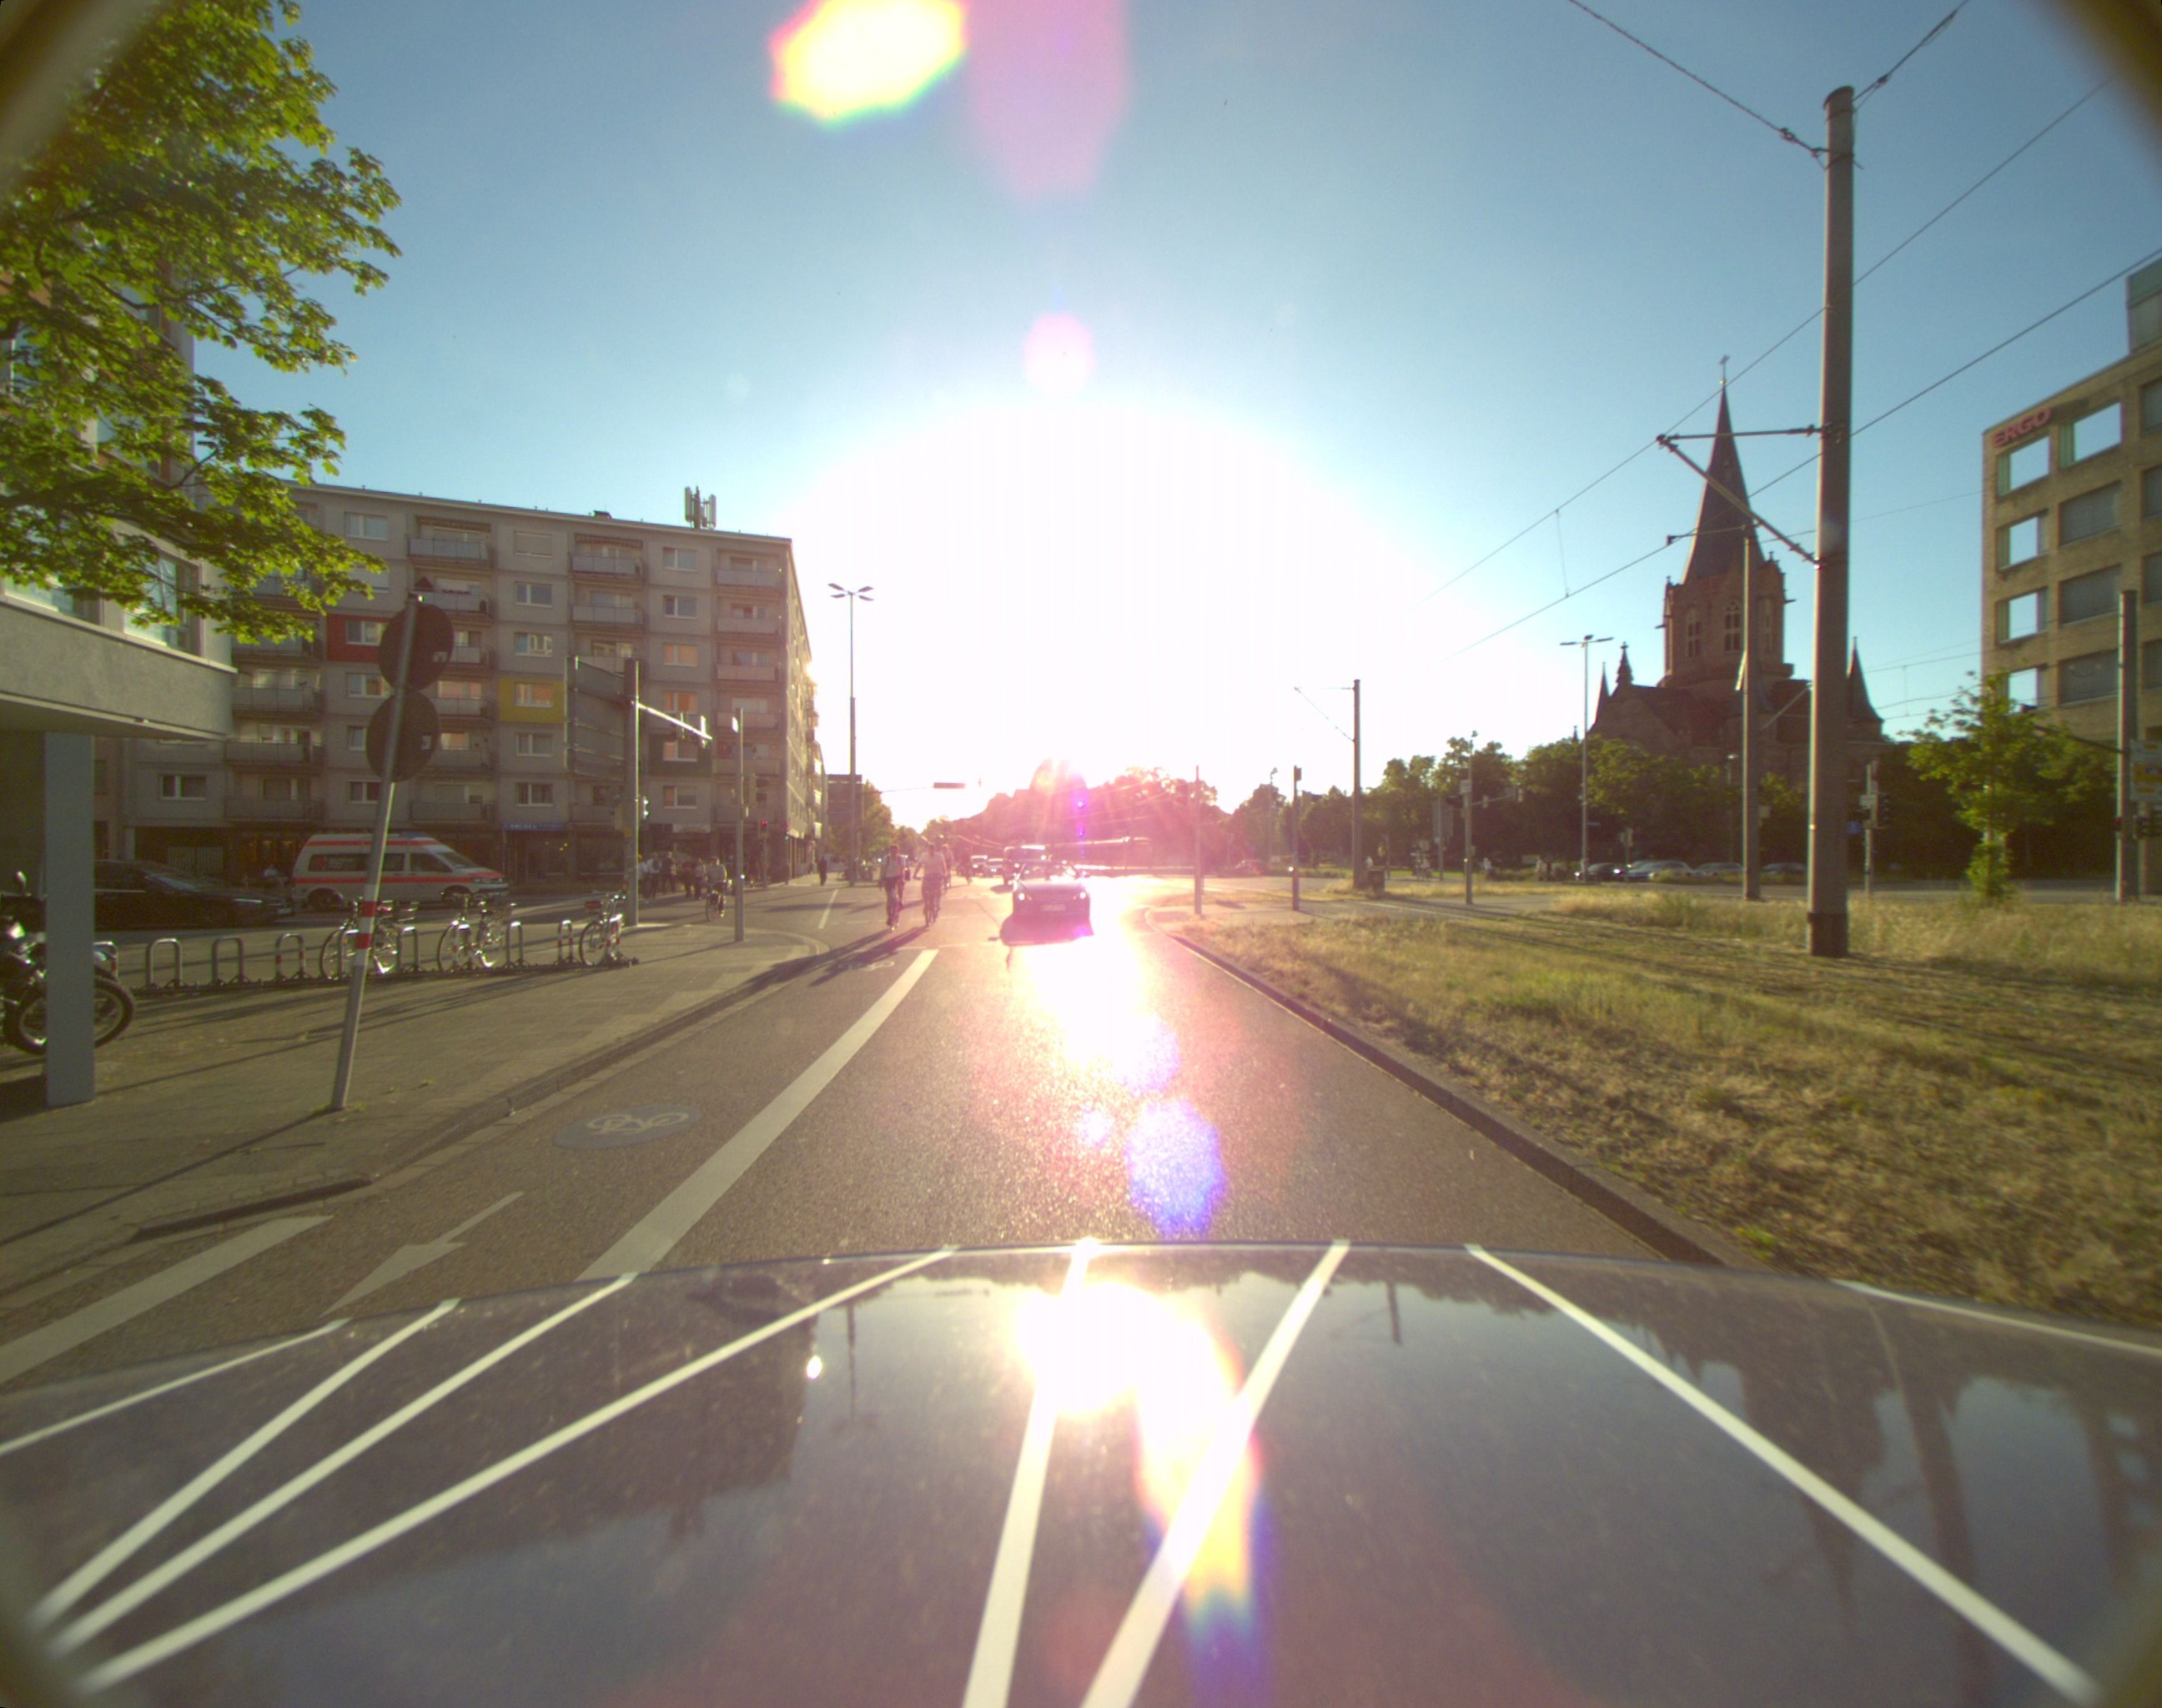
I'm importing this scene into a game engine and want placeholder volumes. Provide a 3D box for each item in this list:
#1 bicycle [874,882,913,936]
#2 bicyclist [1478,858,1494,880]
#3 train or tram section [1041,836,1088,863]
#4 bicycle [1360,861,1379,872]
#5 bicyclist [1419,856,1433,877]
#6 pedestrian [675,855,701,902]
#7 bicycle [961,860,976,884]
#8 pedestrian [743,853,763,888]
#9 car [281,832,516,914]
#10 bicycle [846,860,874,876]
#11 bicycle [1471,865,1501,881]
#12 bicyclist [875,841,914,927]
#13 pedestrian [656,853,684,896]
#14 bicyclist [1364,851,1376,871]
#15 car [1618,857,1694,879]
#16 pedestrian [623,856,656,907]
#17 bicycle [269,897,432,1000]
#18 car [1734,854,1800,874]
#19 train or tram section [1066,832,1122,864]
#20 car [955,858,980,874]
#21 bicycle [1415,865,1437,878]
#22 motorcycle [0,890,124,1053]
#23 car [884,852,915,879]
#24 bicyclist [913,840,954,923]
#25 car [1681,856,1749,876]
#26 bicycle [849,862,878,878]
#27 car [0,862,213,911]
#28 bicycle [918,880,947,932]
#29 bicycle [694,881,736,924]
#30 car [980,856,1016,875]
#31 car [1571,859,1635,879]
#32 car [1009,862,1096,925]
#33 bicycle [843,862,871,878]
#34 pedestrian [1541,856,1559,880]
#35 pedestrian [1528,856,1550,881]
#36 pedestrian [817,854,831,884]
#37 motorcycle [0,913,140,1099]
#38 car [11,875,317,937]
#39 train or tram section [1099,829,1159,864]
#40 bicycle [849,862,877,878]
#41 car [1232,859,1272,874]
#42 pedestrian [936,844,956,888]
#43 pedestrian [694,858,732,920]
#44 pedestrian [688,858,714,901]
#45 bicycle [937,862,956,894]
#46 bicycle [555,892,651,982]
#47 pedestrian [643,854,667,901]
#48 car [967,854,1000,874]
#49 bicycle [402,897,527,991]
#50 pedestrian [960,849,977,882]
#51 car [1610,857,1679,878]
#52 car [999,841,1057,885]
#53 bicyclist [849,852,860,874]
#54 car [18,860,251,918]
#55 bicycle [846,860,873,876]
[{"bbox_3d":[-4.018,1.157,16.384,0.577,1.022,1.855,-2,0,-7],"label":"bicycle"},{"bbox_3d":[29.403,1.081,55.186,0.522,1.574,0.819,-2,1,-30],"label":"bicyclist"},{"bbox_3d":[-2.452,-0.588,104.641,2.784,3.515,13.231,-1,0,-18],"label":"train or tram section"},{"bbox_3d":[26.670,1.150,70.167,0.526,1.020,1.927,-2,0,-17],"label":"bicycle"},{"bbox_3d":[28.006,1.010,61.643,0.575,1.671,0.893,-2,1,-18],"label":"bicyclist"},{"bbox_3d":[-14.124,0.862,27.316,0.684,1.652,0.745,-1,0,-16],"label":"pedestrian"},{"bbox_3d":[-5.692,0.884,38.411,0.530,1.152,1.847,-2,1,-14],"label":"bicycle"},{"bbox_3d":[-15.243,0.752,35.318,0.684,1.580,0.746,-1,0,-12],"label":"pedestrian"},{"bbox_3d":[-21.775,0.554,24.535,5.270,2.468,1.923,-1,0,-17],"label":"car"},{"bbox_3d":[-15.982,1.035,55.068,1.876,1.119,0.567,2,-1,-21],"label":"bicycle"},{"bbox_3d":[29.409,1.373,55.198,0.460,1.139,1.915,-2,0,-30],"label":"bicycle"},{"bbox_3d":[-4.007,0.620,16.361,0.676,1.797,0.993,-1,0,-7],"label":"bicyclist"},{"bbox_3d":[-16.737,0.819,30.941,0.786,1.691,1.026,-1,0,-16],"label":"pedestrian"},{"bbox_3d":[26.667,0.666,70.153,0.575,1.816,0.893,-2,1,-18],"label":"bicyclist"},{"bbox_3d":[38.077,0.915,50.336,4.002,1.412,1.900,0,0,-14],"label":"car"},{"bbox_3d":[-14.599,0.905,25.131,0.730,1.652,0.904,-1,0,-16],"label":"pedestrian"},{"bbox_3d":[-9.752,1.203,10.271,0.647,1.151,2.121,0,-1,-15],"label":"bicycle"},{"bbox_3d":[51.615,0.735,57.150,4.003,1.412,1.900,0,0,-17],"label":"car"},{"bbox_3d":[1.386,-0.674,92.576,2.784,3.515,13.231,-1,0,-18],"label":"train or tram section"},{"bbox_3d":[-11.323,1.165,75.622,1.818,1.393,3.913,-3,1,-17],"label":"car"},{"bbox_3d":[27.998,1.401,61.675,0.460,1.020,1.927,-2,0,-17],"label":"bicycle"},{"bbox_3d":[-10.389,1.064,6.939,2.050,1.398,0.760,-1,0,-9],"label":"motorcycle"},{"bbox_3d":[-13.556,0.852,56.584,1.944,1.922,4.825,0,0,-17],"label":"car"},{"bbox_3d":[-3.305,0.598,17.103,0.829,1.797,1.057,-1,0,-7],"label":"bicyclist"},{"bbox_3d":[46.273,0.889,55.465,4.003,1.412,1.900,0,0,-17],"label":"car"},{"bbox_3d":[-15.239,1.130,53.239,1.875,1.055,0.606,0,0,-19],"label":"bicycle"},{"bbox_3d":[-31.260,1.011,24.482,4.002,1.455,1.785,0,0,-16],"label":"car"},{"bbox_3d":[-3.338,1.136,17.151,0.480,1.022,1.980,-2,0,-7],"label":"bicycle"},{"bbox_3d":[-9.657,1.269,20.118,0.522,0.975,1.847,0,2,-10],"label":"bicycle"},{"bbox_3d":[-6.784,0.942,61.806,1.845,1.393,4.576,-3,1,-20],"label":"car"},{"bbox_3d":[39.140,1.096,56.981,4.003,1.412,1.900,0,0,-17],"label":"car"},{"bbox_3d":[-0.813,0.875,18.603,1.777,1.300,4.238,-1,0,-7],"label":"car"},{"bbox_3d":[-15.997,1.132,54.272,1.876,1.119,0.606,2,-1,-21],"label":"bicycle"},{"bbox_3d":[32.547,0.963,52.747,0.738,1.663,0.717,0,0,-14],"label":"pedestrian"},{"bbox_3d":[31.727,0.987,52.672,0.738,1.663,1.104,0,0,-14],"label":"pedestrian"},{"bbox_3d":[-14.583,0.836,43.126,0.664,1.694,1.070,-1,0,-12],"label":"pedestrian"},{"bbox_3d":[-7.896,1.105,5.120,0.668,1.235,2.199,-1,0,-10],"label":"motorcycle"},{"bbox_3d":[-22.782,1.243,19.124,4.679,1.333,1.837,-1,0,-15],"label":"car"},{"bbox_3d":[4.963,-0.718,81.238,2.784,3.515,10.554,-1,0,-18],"label":"train or tram section"},{"bbox_3d":[-15.448,1.133,53.813,1.875,1.055,0.606,0,0,-19],"label":"bicycle"},{"bbox_3d":[15.872,1.151,70.520,1.732,1.406,3.879,0,0,-22],"label":"car"},{"bbox_3d":[-5.179,0.452,29.238,0.640,1.639,0.842,-2,1,-6],"label":"pedestrian"},{"bbox_3d":[-9.672,0.908,19.988,0.677,1.581,0.760,0,2,-10],"label":"pedestrian"},{"bbox_3d":[-13.342,0.882,26.709,0.684,1.491,0.745,-1,0,-16],"label":"pedestrian"},{"bbox_3d":[-5.180,0.894,29.354,0.530,1.152,1.848,-2,0,-6],"label":"bicycle"},{"bbox_3d":[-6.846,1.146,10.986,0.647,1.120,1.872,0,-1,-15],"label":"bicycle"},{"bbox_3d":[-15.506,0.847,27.668,0.570,1.691,0.811,-1,0,-16],"label":"pedestrian"},{"bbox_3d":[-8.982,0.872,69.589,1.959,1.702,4.843,-3,1,-19],"label":"car"},{"bbox_3d":[-8.536,1.198,10.624,0.647,1.120,1.872,0,-1,-15],"label":"bicycle"},{"bbox_3d":[-5.684,0.560,38.362,0.679,1.639,0.900,-2,1,-14],"label":"pedestrian"},{"bbox_3d":[39.949,0.954,53.898,4.003,1.412,1.900,0,0,-17],"label":"car"},{"bbox_3d":[-2.687,0.426,37.323,1.922,1.978,4.940,-1,0,-15],"label":"car"},{"bbox_3d":[-18.647,0.734,62.567,0.744,1.797,1.384,-1,0,-15],"label":"bicyclist"},{"bbox_3d":[-27.689,0.971,22.398,4.088,1.561,1.594,0,0,-18],"label":"car"},{"bbox_3d":[-16.778,1.047,57.639,1.876,1.119,0.567,2,-1,-21],"label":"bicycle"}]
